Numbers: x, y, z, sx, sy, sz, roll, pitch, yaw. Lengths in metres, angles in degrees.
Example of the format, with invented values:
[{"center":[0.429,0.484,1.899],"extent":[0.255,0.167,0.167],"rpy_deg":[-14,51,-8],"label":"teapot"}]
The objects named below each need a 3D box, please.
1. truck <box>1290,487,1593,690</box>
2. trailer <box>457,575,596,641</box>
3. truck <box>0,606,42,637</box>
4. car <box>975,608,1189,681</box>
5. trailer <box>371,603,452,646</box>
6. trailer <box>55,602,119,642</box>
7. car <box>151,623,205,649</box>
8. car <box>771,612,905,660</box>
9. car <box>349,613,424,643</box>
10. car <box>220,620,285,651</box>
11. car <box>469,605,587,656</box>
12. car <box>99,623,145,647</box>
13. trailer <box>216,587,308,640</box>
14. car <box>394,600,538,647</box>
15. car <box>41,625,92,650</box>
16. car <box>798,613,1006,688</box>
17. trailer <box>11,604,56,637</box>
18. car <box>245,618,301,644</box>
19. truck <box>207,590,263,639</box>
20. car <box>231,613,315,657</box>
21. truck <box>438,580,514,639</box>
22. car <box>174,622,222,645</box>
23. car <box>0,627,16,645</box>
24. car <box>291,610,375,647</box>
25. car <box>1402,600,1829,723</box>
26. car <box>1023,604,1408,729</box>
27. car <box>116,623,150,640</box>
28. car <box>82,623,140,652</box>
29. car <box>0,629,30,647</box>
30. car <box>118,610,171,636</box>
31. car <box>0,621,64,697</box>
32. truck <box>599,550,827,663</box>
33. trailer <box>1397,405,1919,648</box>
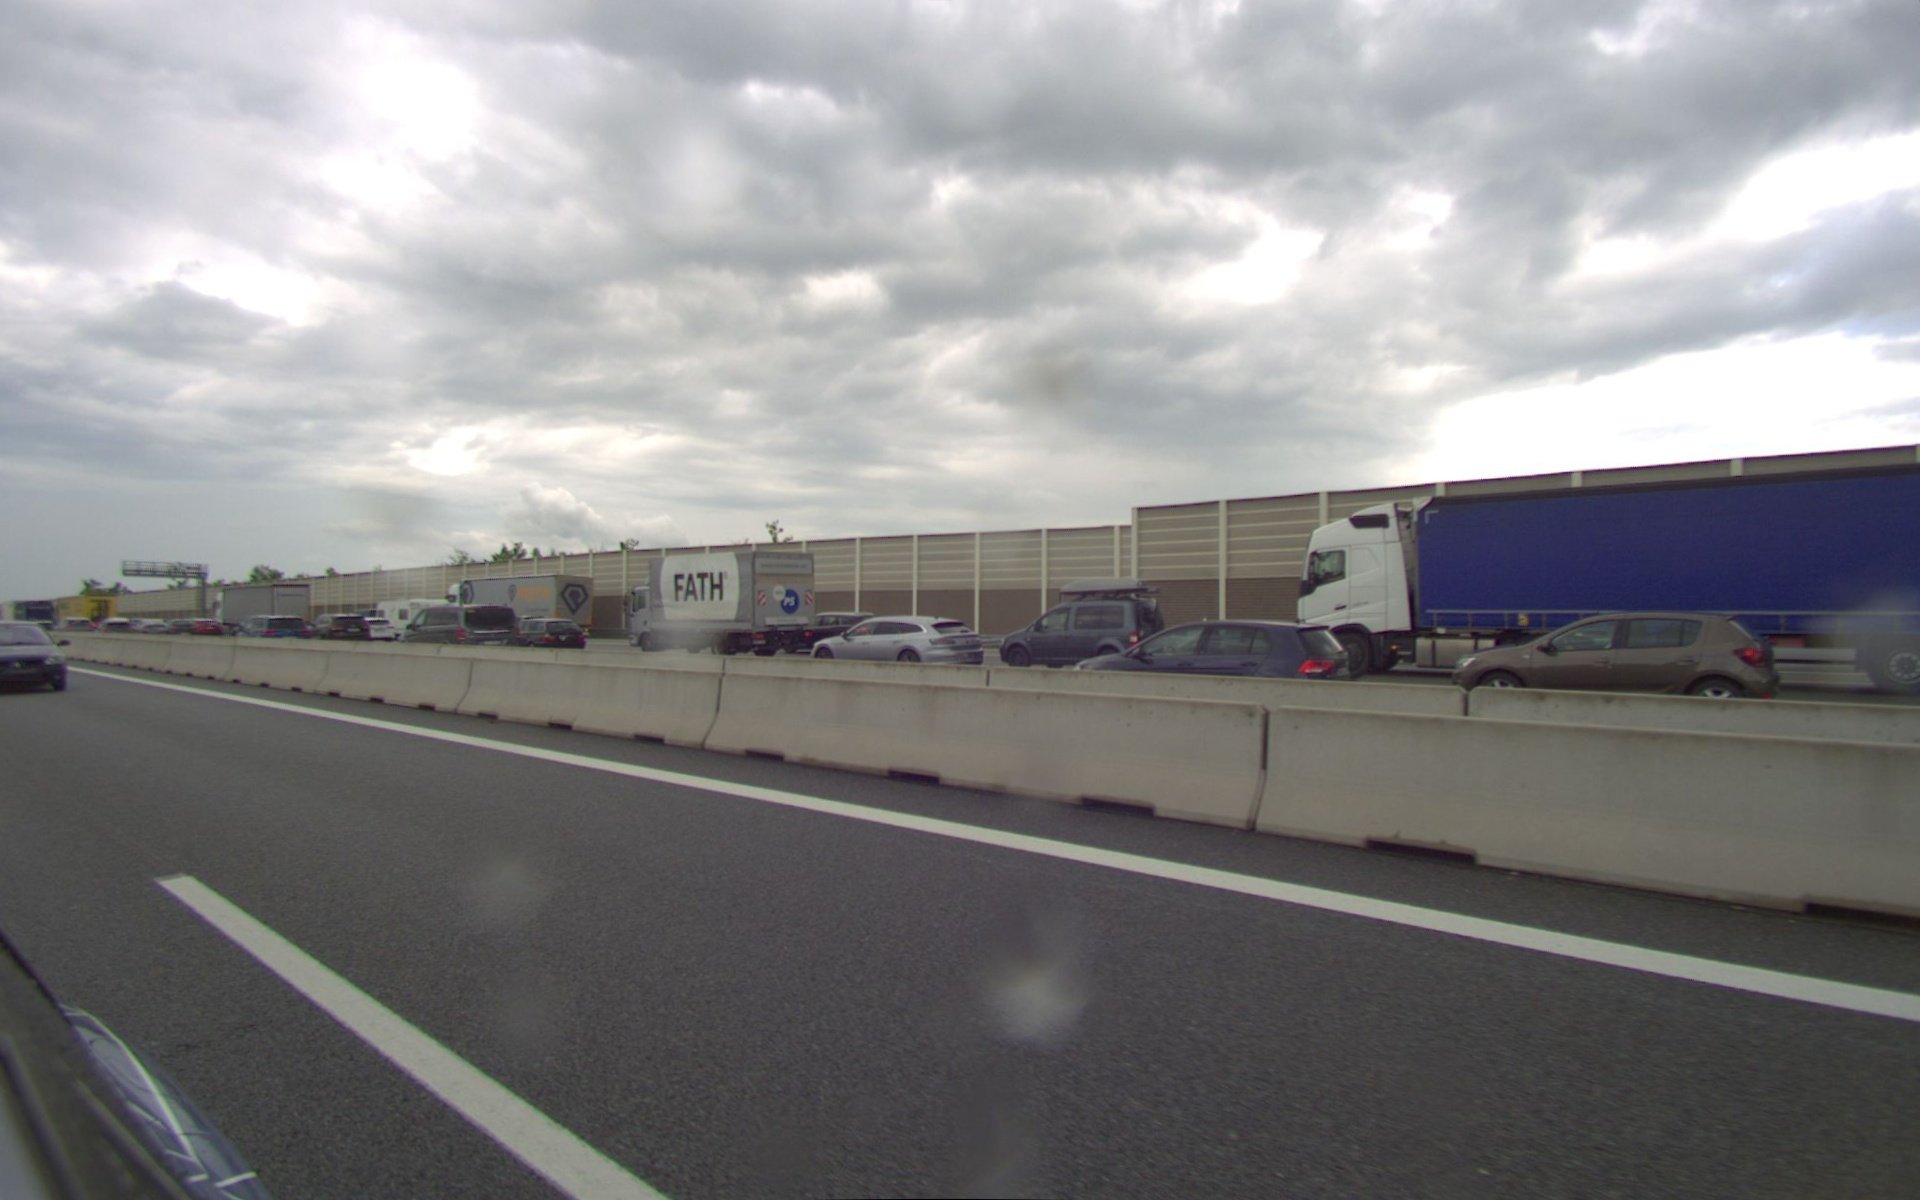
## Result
[{"center":[10.889,-0.184,23.155],"extent":[5.722,4.065,2.716],"rpy_deg":[-1,-1,41],"label":"truck"},{"center":[-29.343,0.602,67.941],"extent":[13.852,4.062,2.905],"rpy_deg":[-1,-1,41],"label":"trailer"},{"center":[-123.978,2.858,133.450],"extent":[11.058,3.975,2.907],"rpy_deg":[-2,-2,41],"label":"truck"},{"center":[2.926,1.020,24.995],"extent":[4.994,1.612,2.039],"rpy_deg":[-1,-1,41],"label":"car"},{"center":[-34.031,1.522,62.715],"extent":[6.082,2.514,2.434],"rpy_deg":[-2,-1,41],"label":"trailer"},{"center":[-92.603,2.342,107.216],"extent":[14.439,4.062,2.734],"rpy_deg":[-1,-1,40],"label":"trailer"},{"center":[-53.343,2.460,69.014],"extent":[4.405,1.712,1.936],"rpy_deg":[-2,-1,39],"label":"car"},{"center":[-4.526,1.263,37.049],"extent":[4.994,1.612,2.039],"rpy_deg":[-1,-1,41],"label":"car"},{"center":[-30.787,1.479,54.292],"extent":[4.996,1.502,2.038],"rpy_deg":[-1,-1,42],"label":"car"},{"center":[-40.825,2.019,58.364],"extent":[4.405,1.712,1.936],"rpy_deg":[-2,-1,39],"label":"car"},{"center":[-15.578,1.088,36.370],"extent":[5.011,1.712,1.854],"rpy_deg":[-2,-1,40],"label":"car"},{"center":[-68.929,2.866,83.204],"extent":[4.773,1.830,2.041],"rpy_deg":[-2,-1,39],"label":"car"},{"center":[-57.269,1.135,82.758],"extent":[14.445,4.062,2.732],"rpy_deg":[-1,-1,41],"label":"trailer"},{"center":[-15.178,0.734,30.944],"extent":[5.595,1.309,1.854],"rpy_deg":[-2,-1,40],"label":"car"},{"center":[-63.313,2.629,71.722],"extent":[4.887,1.712,1.936],"rpy_deg":[-2,-1,39],"label":"car"},{"center":[-1.477,1.126,24.262],"extent":[4.994,1.612,2.039],"rpy_deg":[-1,-1,41],"label":"car"},{"center":[-115.905,2.547,126.573],"extent":[10.112,3.969,2.901],"rpy_deg":[-2,-2,41],"label":"trailer"},{"center":[-46.717,2.097,68.777],"extent":[4.405,1.712,1.936],"rpy_deg":[-2,-1,39],"label":"car"},{"center":[-62.642,1.257,87.416],"extent":[5.722,4.065,2.717],"rpy_deg":[-1,-1,41],"label":"truck"},{"center":[-28.662,1.455,42.190],"extent":[4.218,1.712,1.854],"rpy_deg":[-2,-1,40],"label":"car"},{"center":[-34.727,0.714,72.601],"extent":[5.722,4.065,2.887],"rpy_deg":[-1,-1,41],"label":"truck"},{"center":[-58.136,2.572,77.202],"extent":[4.405,1.712,1.936],"rpy_deg":[-2,-1,39],"label":"car"},{"center":[-91.348,3.428,95.958],"extent":[4.405,1.712,2.041],"rpy_deg":[-2,-1,39],"label":"car"},{"center":[-30.642,1.404,49.411],"extent":[5.085,1.712,2.040],"rpy_deg":[-2,-1,40],"label":"car"},{"center":[9.405,0.780,14.830],"extent":[4.997,1.502,2.038],"rpy_deg":[-1,-1,43],"label":"car"},{"center":[3.521,0.825,14.562],"extent":[4.993,1.502,2.039],"rpy_deg":[-1,-1,40],"label":"car"},{"center":[-90.472,3.444,110.665],"extent":[4.405,1.712,2.041],"rpy_deg":[-2,-1,39],"label":"car"},{"center":[-52.523,2.317,62.593],"extent":[4.405,1.712,1.936],"rpy_deg":[-2,-1,39],"label":"car"},{"center":[-106.048,4.221,113.343],"extent":[5.801,1.907,2.041],"rpy_deg":[-2,-1,39],"label":"car"},{"center":[-60.491,1.719,75.009],"extent":[5.108,1.830,2.041],"rpy_deg":[-2,-1,39],"label":"car"},{"center":[-19.424,1.149,20.369],"extent":[3.997,1.413,1.558],"rpy_deg":[-1,-1,41],"label":"car"},{"center":[-9.030,0.275,35.951],"extent":[9.992,3.554,2.668],"rpy_deg":[-1,0,42],"label":"truck"},{"center":[16.037,-1.205,18.698],"extent":[14.443,4.062,2.733],"rpy_deg":[-1,-1,41],"label":"trailer"}]
